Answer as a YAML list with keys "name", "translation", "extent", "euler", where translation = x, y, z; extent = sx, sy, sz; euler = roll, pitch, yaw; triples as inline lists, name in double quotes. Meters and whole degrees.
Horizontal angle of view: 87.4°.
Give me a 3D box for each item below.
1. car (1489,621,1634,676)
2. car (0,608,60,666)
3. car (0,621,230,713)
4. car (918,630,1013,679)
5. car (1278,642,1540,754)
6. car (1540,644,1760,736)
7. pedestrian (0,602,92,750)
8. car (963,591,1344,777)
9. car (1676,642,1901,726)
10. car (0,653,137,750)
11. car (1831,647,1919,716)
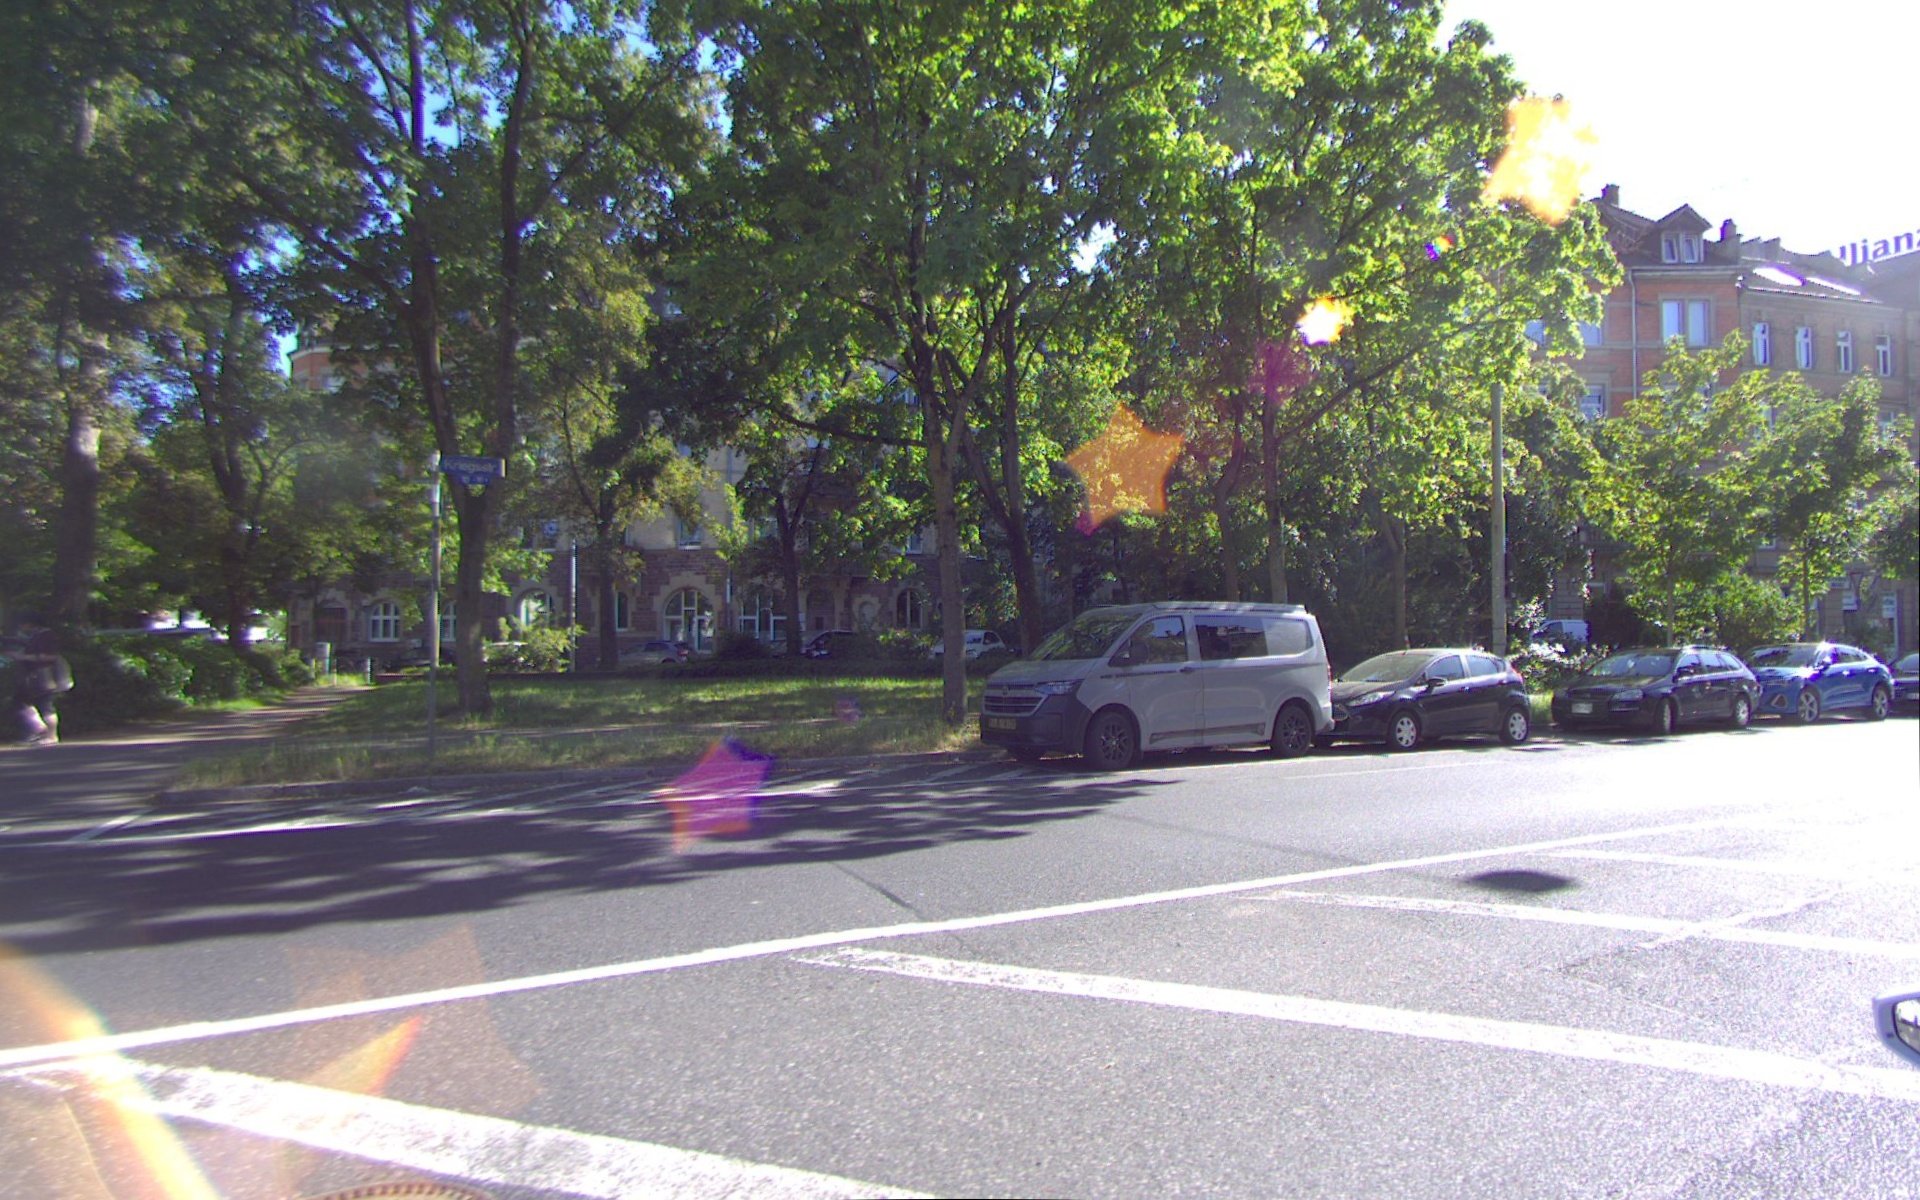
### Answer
- name: "car"
  translation: [22.769, 1.869, 38.127]
  extent: [4.365, 1.938, 1.866]
  euler: [1, -4, -2]
- name: "car"
  translation: [-44.894, 1.711, 46.130]
  extent: [4.855, 2.657, 1.882]
  euler: [1, -4, -28]
- name: "car"
  translation: [-22.448, 1.750, 26.483]
  extent: [4.853, 2.275, 1.883]
  euler: [1, -4, -27]
- name: "car"
  translation: [0.264, 1.807, 32.412]
  extent: [1.565, 1.446, 4.180]
  euler: [-4, -5, 22]
- name: "car"
  translation: [6.817, 1.438, 15.188]
  extent: [3.907, 1.521, 1.459]
  euler: [2, -4, -27]
- name: "car"
  translation: [12.484, 1.594, 18.116]
  extent: [4.222, 1.501, 1.583]
  euler: [2, -5, -30]
- name: "pedestrian"
  translation: [-11.560, 0.937, 12.675]
  extent: [0.813, 1.778, 0.863]
  euler: [2, -2, -37]
- name: "car"
  translation: [2.610, 1.063, 13.276]
  extent: [4.819, 2.062, 1.975]
  euler: [1, -5, -31]
- name: "car"
  translation: [16.961, 1.639, 20.540]
  extent: [4.496, 1.558, 1.776]
  euler: [1, -2, -25]
- name: "car"
  translation: [-18.334, 1.859, 18.388]
  extent: [4.623, 1.710, 1.888]
  euler: [0, -3, -17]
- name: "car"
  translation: [21.741, 1.792, 22.529]
  extent: [4.348, 1.431, 1.775]
  euler: [1, -5, -27]
